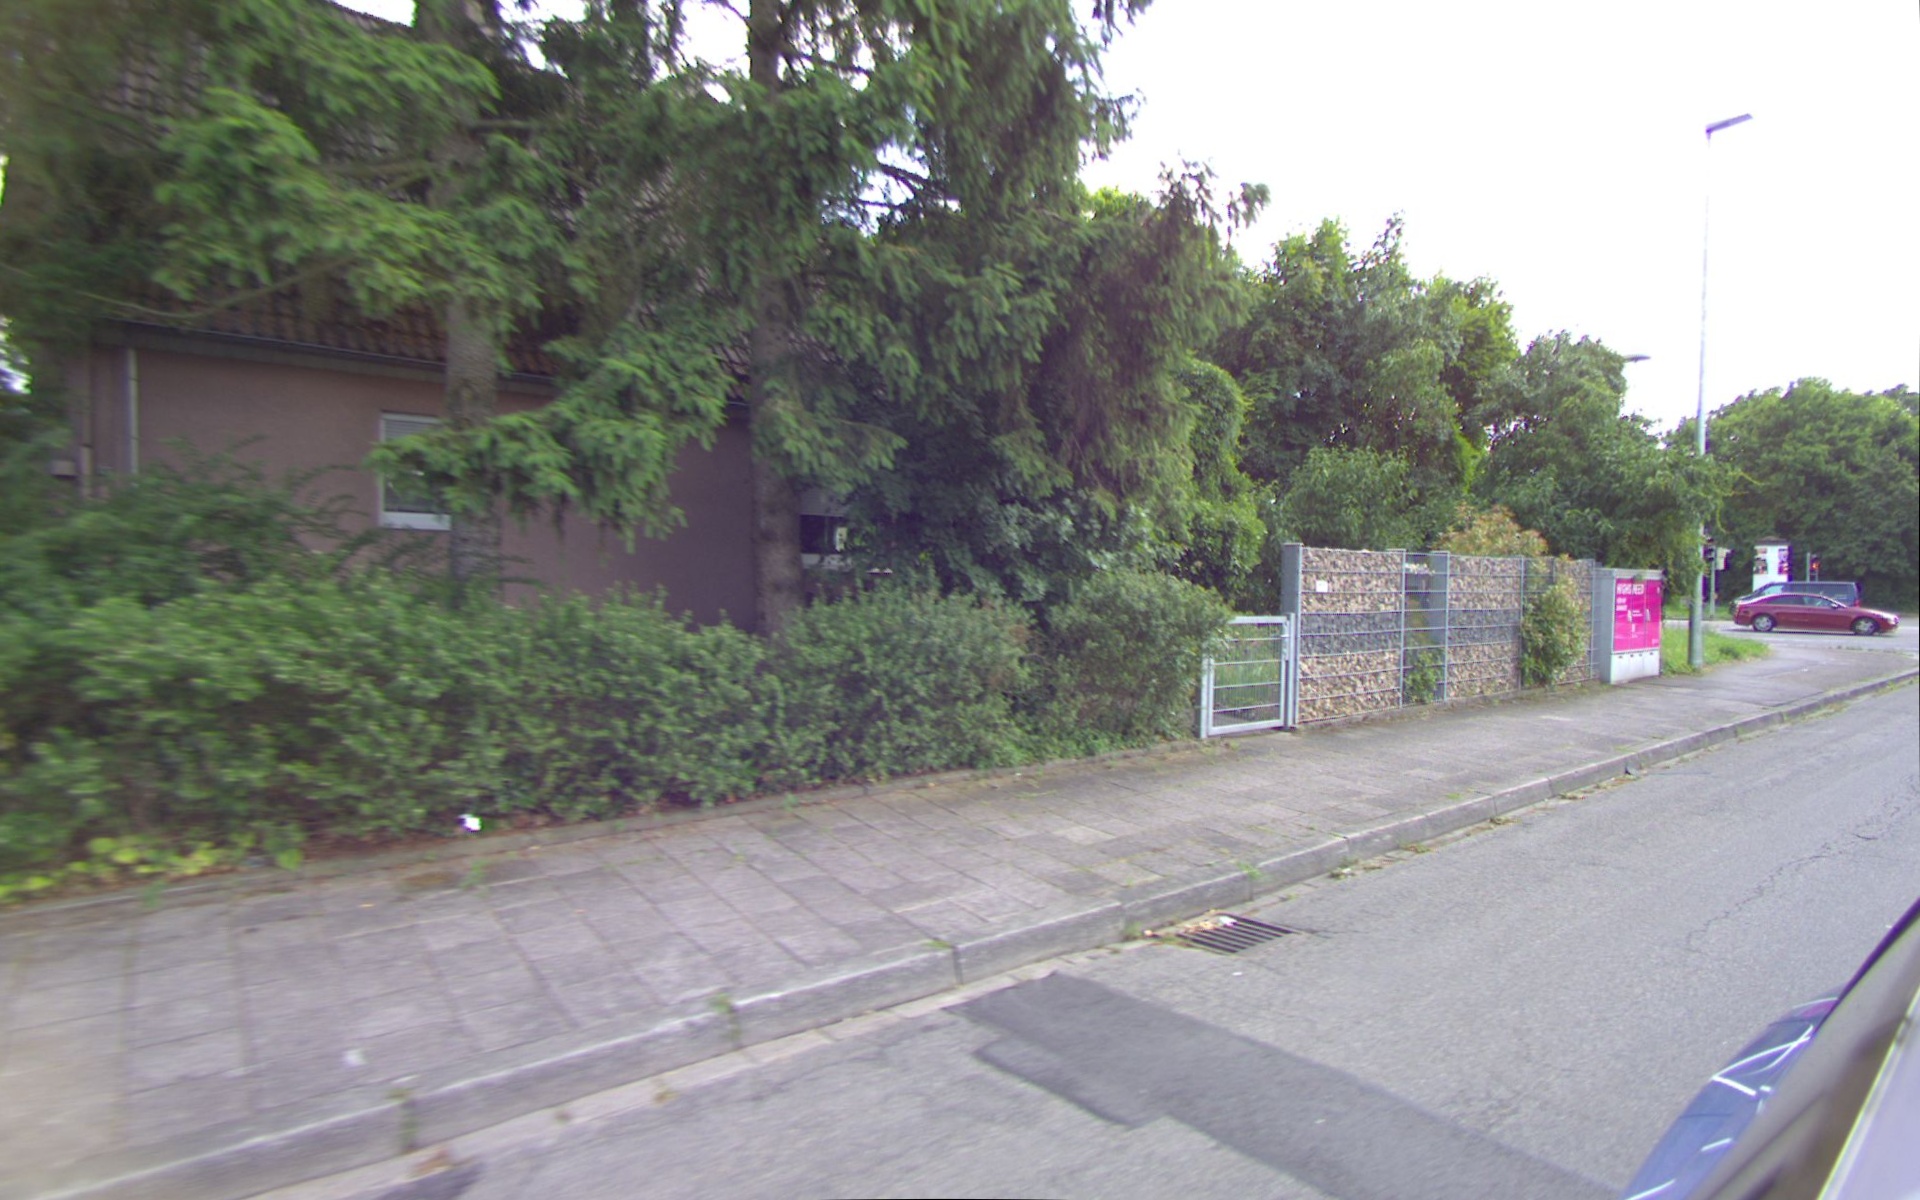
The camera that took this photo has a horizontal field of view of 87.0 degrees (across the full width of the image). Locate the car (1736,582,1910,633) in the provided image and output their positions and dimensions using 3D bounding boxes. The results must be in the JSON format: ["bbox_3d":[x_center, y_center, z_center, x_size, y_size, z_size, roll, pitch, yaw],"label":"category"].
[{"bbox_3d":[30.081,0.209,35.466,4.514,1.480,1.705,3,5,39],"label":"car"}]

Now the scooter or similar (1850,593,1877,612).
[{"bbox_3d":[49.758,0.150,55.722,0.292,0.953,1.034,-3,5,-44],"label":"scooter or similar"}]

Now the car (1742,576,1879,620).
[{"bbox_3d":[39.621,-0.144,47.307,4.794,1.880,1.746,2,2,39],"label":"car"}]
